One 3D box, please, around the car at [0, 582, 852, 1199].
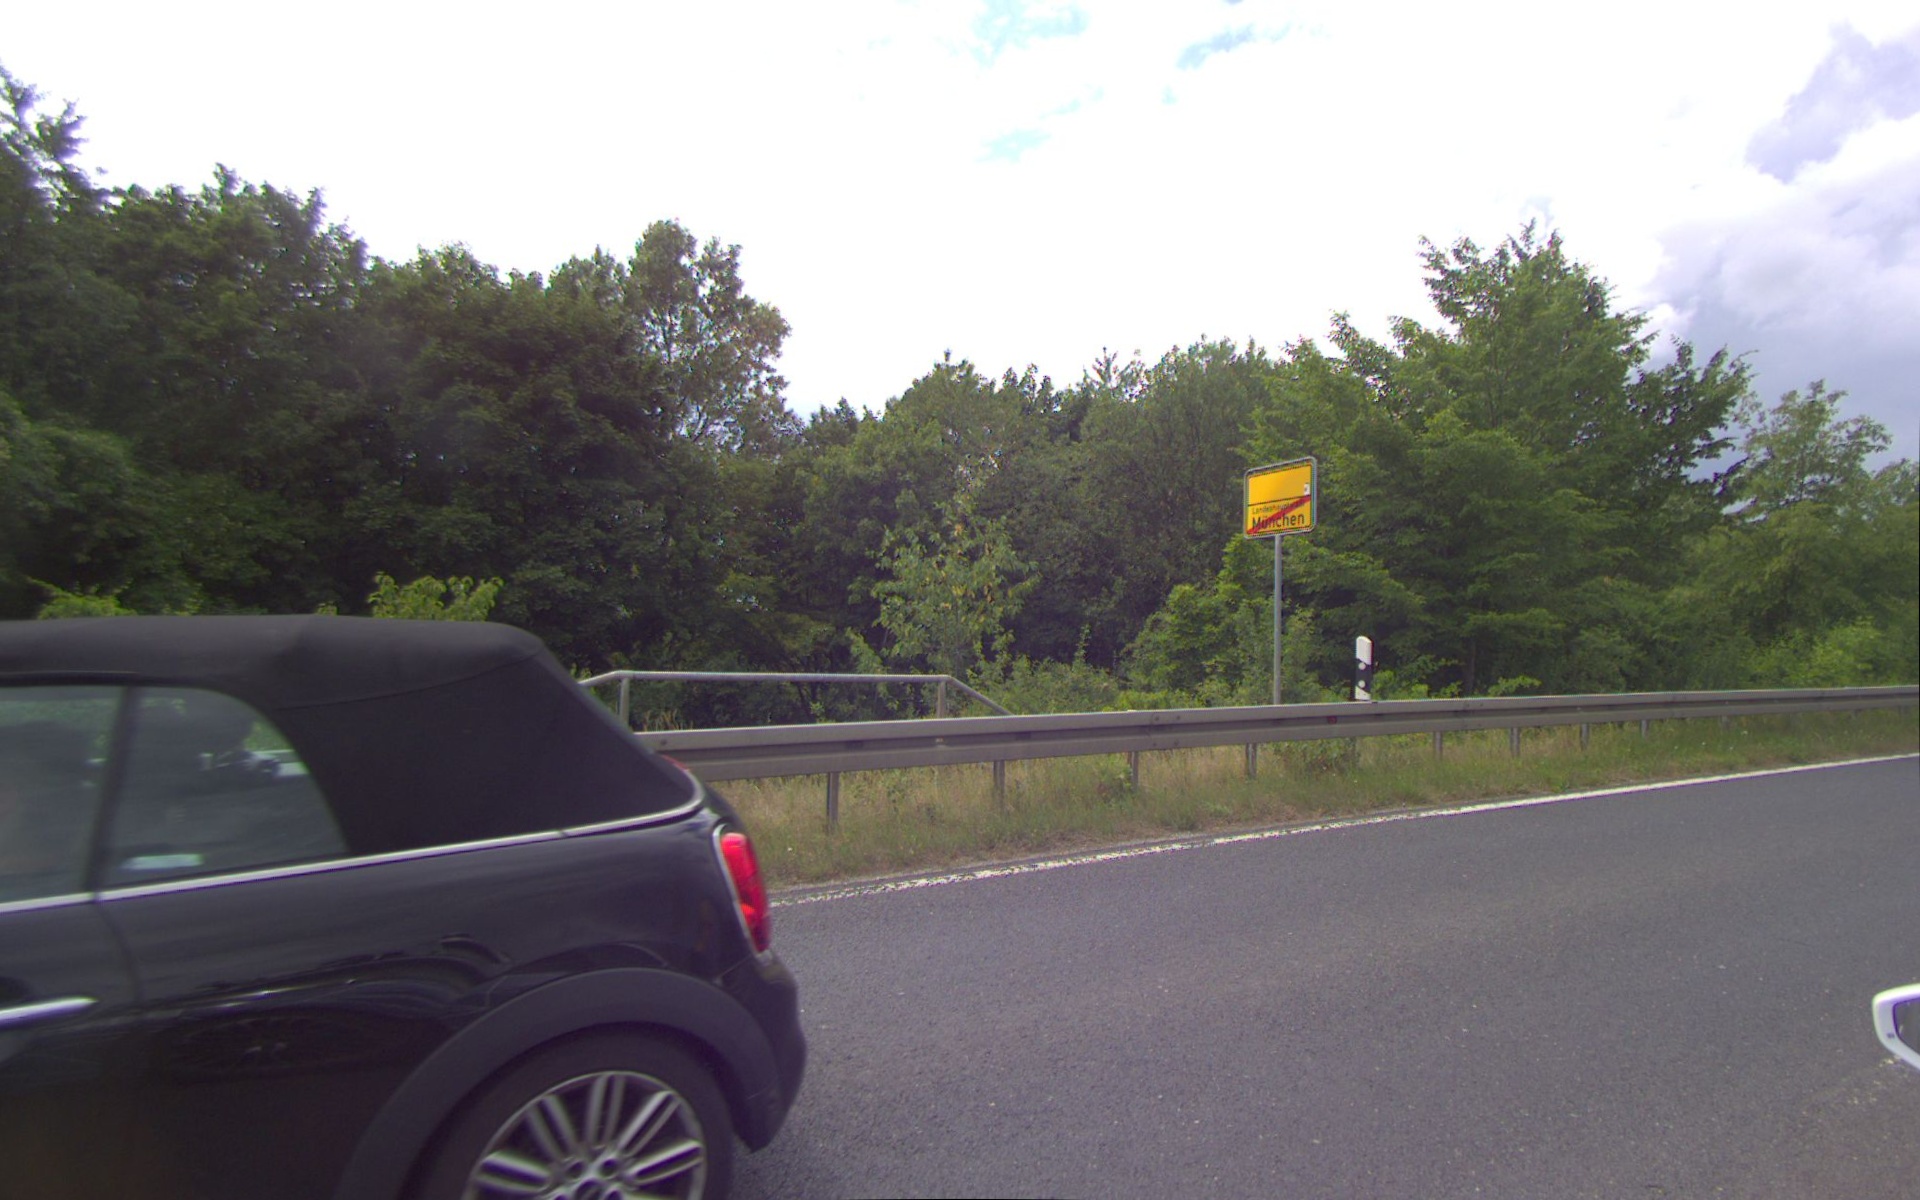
[{"bbox_3d":[-2.392,0.690,1.985,3.953,1.439,1.826,1,-1,-30],"label":"car"}]
